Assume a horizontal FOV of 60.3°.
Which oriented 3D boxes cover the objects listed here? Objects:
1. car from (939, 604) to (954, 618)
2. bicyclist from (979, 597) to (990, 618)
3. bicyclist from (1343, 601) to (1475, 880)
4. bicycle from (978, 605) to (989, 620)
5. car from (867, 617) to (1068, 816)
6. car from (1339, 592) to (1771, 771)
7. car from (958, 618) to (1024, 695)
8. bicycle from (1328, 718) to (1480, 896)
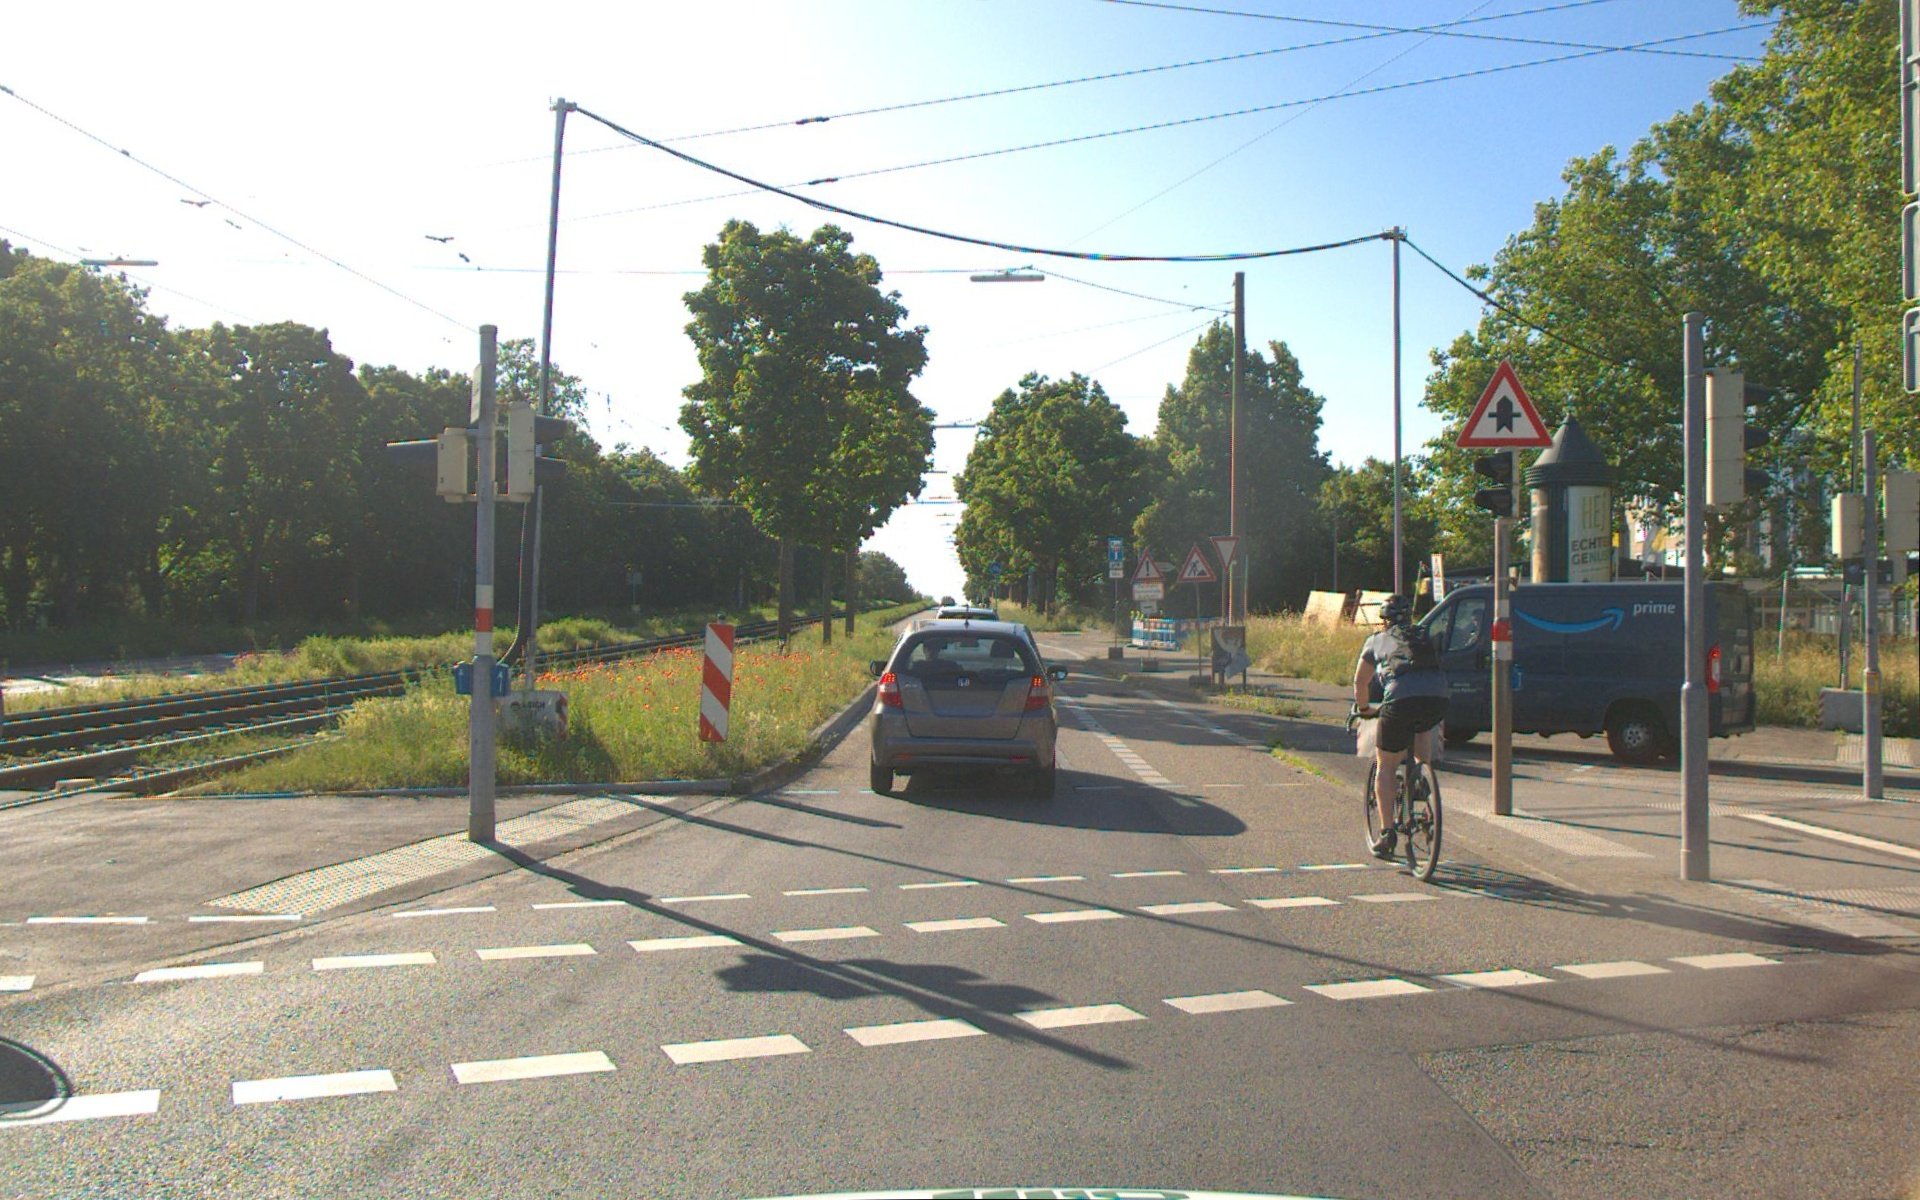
[{"bbox_3d":[-1.944,1.600,238.049,1.952,2.049,4.000,-1,-1,1],"label":"car"},{"bbox_3d":[1.831,0.588,125.529,0.801,1.551,0.966,1,-2,1],"label":"bicyclist"},{"bbox_3d":[2.864,0.873,10.620,0.602,1.709,0.933,0,-1,1],"label":"bicyclist"},{"bbox_3d":[1.814,0.949,125.498,0.801,1.066,2.506,1,-2,1],"label":"bicycle"},{"bbox_3d":[0.120,0.991,15.682,1.636,1.542,3.674,2,0,2],"label":"car"},{"bbox_3d":[7.778,0.996,21.849,5.015,2.107,2.123,0,-1,35],"label":"car"},{"bbox_3d":[0.650,1.184,34.991,1.323,1.554,3.123,0,-1,1],"label":"car"},{"bbox_3d":[2.850,1.295,10.794,0.513,0.939,2.089,0,-1,3],"label":"bicycle"}]
